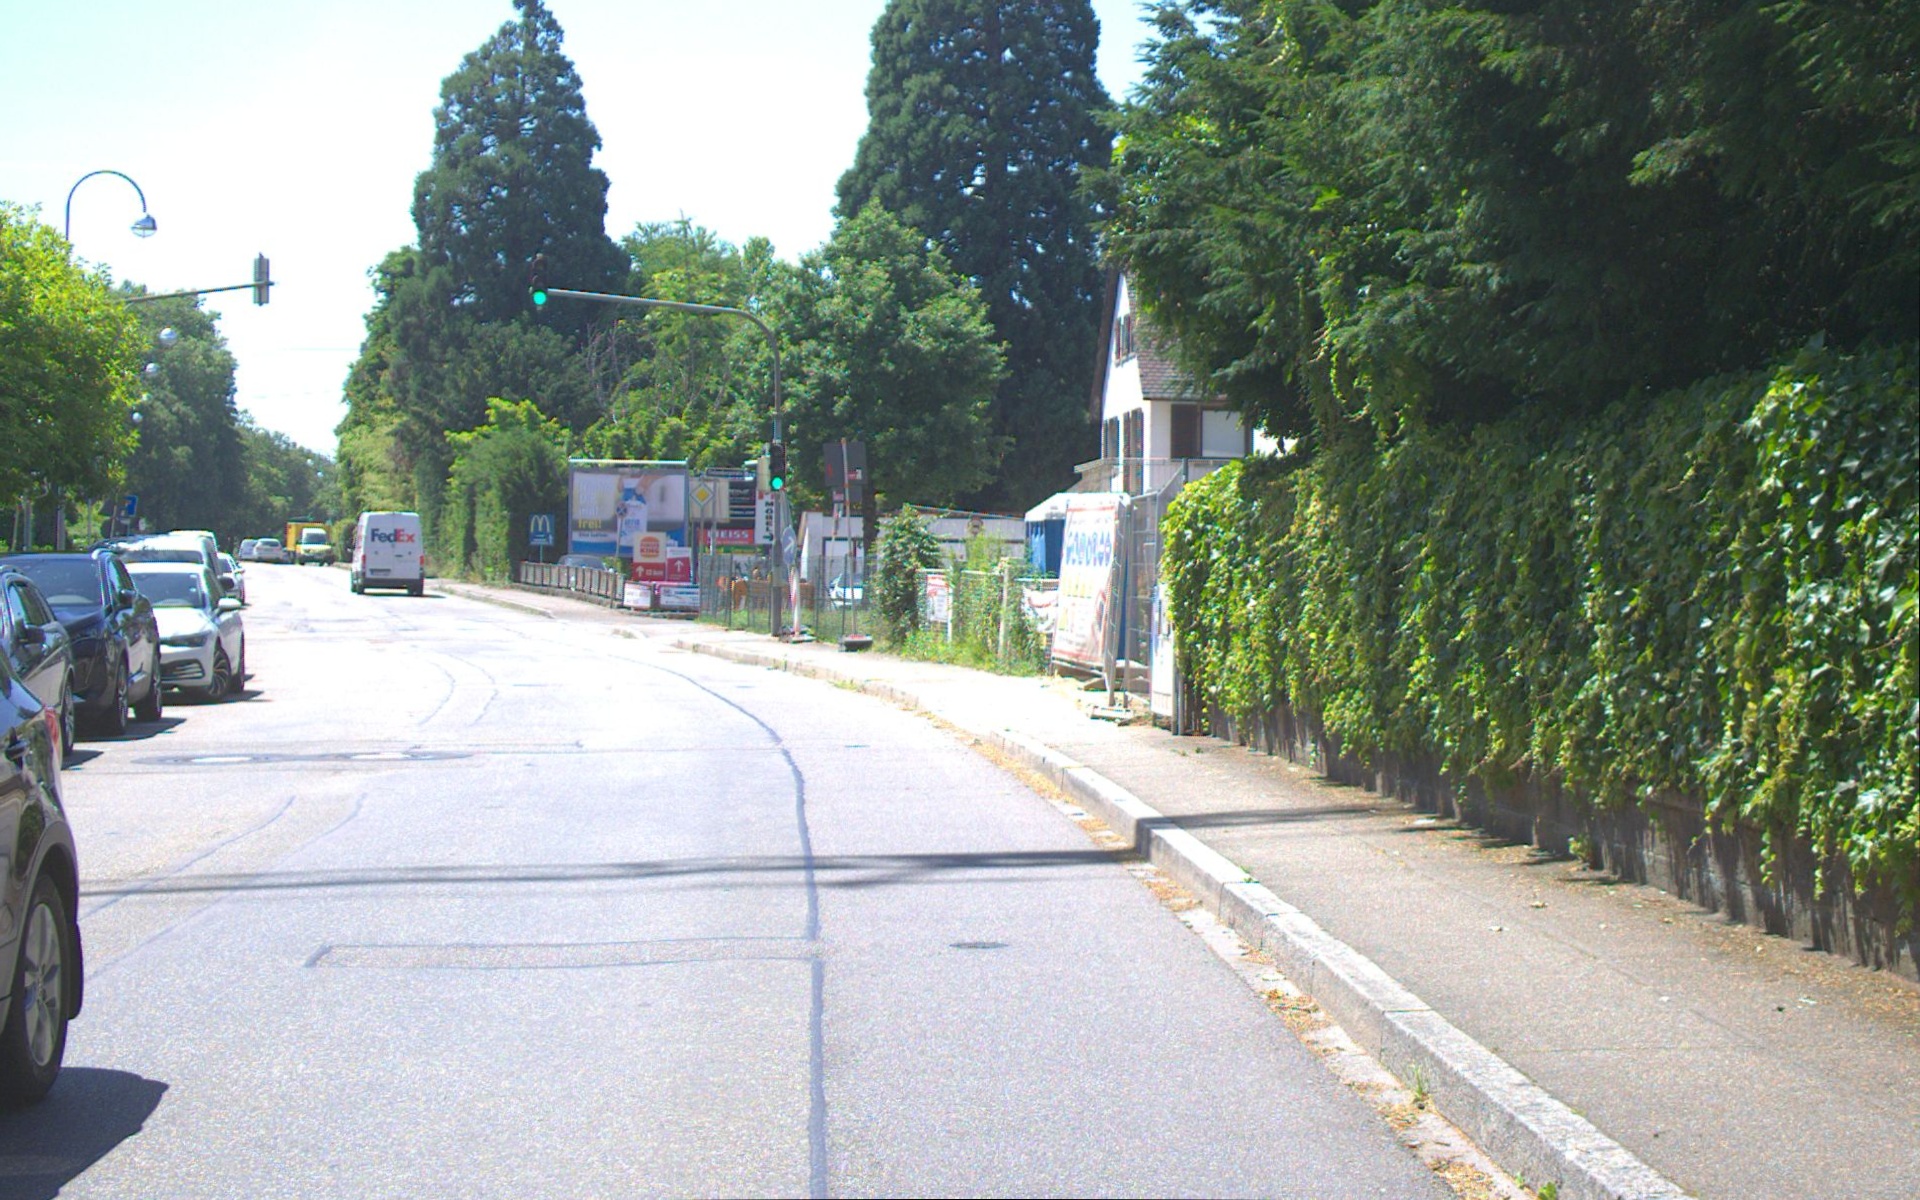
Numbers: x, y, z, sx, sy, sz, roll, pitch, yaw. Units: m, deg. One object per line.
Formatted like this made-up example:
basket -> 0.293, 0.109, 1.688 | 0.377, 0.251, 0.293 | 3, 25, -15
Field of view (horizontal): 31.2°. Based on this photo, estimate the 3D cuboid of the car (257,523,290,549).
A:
car -> -45.369, -4.215, 227.158 | 1.993, 1.656, 4.001 | 0, 1, -14

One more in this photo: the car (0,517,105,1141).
car -> -3.334, 0.599, 7.873 | 1.899, 1.569, 4.142 | -1, 1, -3

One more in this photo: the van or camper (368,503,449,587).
van or camper -> -17.223, -1.724, 107.177 | 2.262, 2.519, 4.761 | -1, 1, -11

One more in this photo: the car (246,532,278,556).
car -> -49.210, -3.962, 242.324 | 1.993, 1.656, 4.001 | 0, 1, -14

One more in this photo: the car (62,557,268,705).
car -> -8.479, 0.288, 36.934 | 1.680, 1.436, 4.248 | -2, 1, -7

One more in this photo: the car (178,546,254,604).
car -> -19.560, -0.678, 90.286 | 1.759, 1.442, 3.925 | -2, 1, -14

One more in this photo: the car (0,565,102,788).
car -> -7.411, 0.511, 25.072 | 1.680, 1.471, 4.331 | -2, 1, -7

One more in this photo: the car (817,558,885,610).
car -> -2.851, -0.425, 89.535 | 1.711, 1.265, 3.385 | 1, 1, -3

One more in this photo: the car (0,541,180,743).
car -> -8.000, 0.322, 30.405 | 1.680, 1.631, 4.331 | -2, 1, -7

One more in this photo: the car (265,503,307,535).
car -> -35.903, -4.319, 183.163 | 1.993, 1.656, 4.001 | 0, 1, -14
